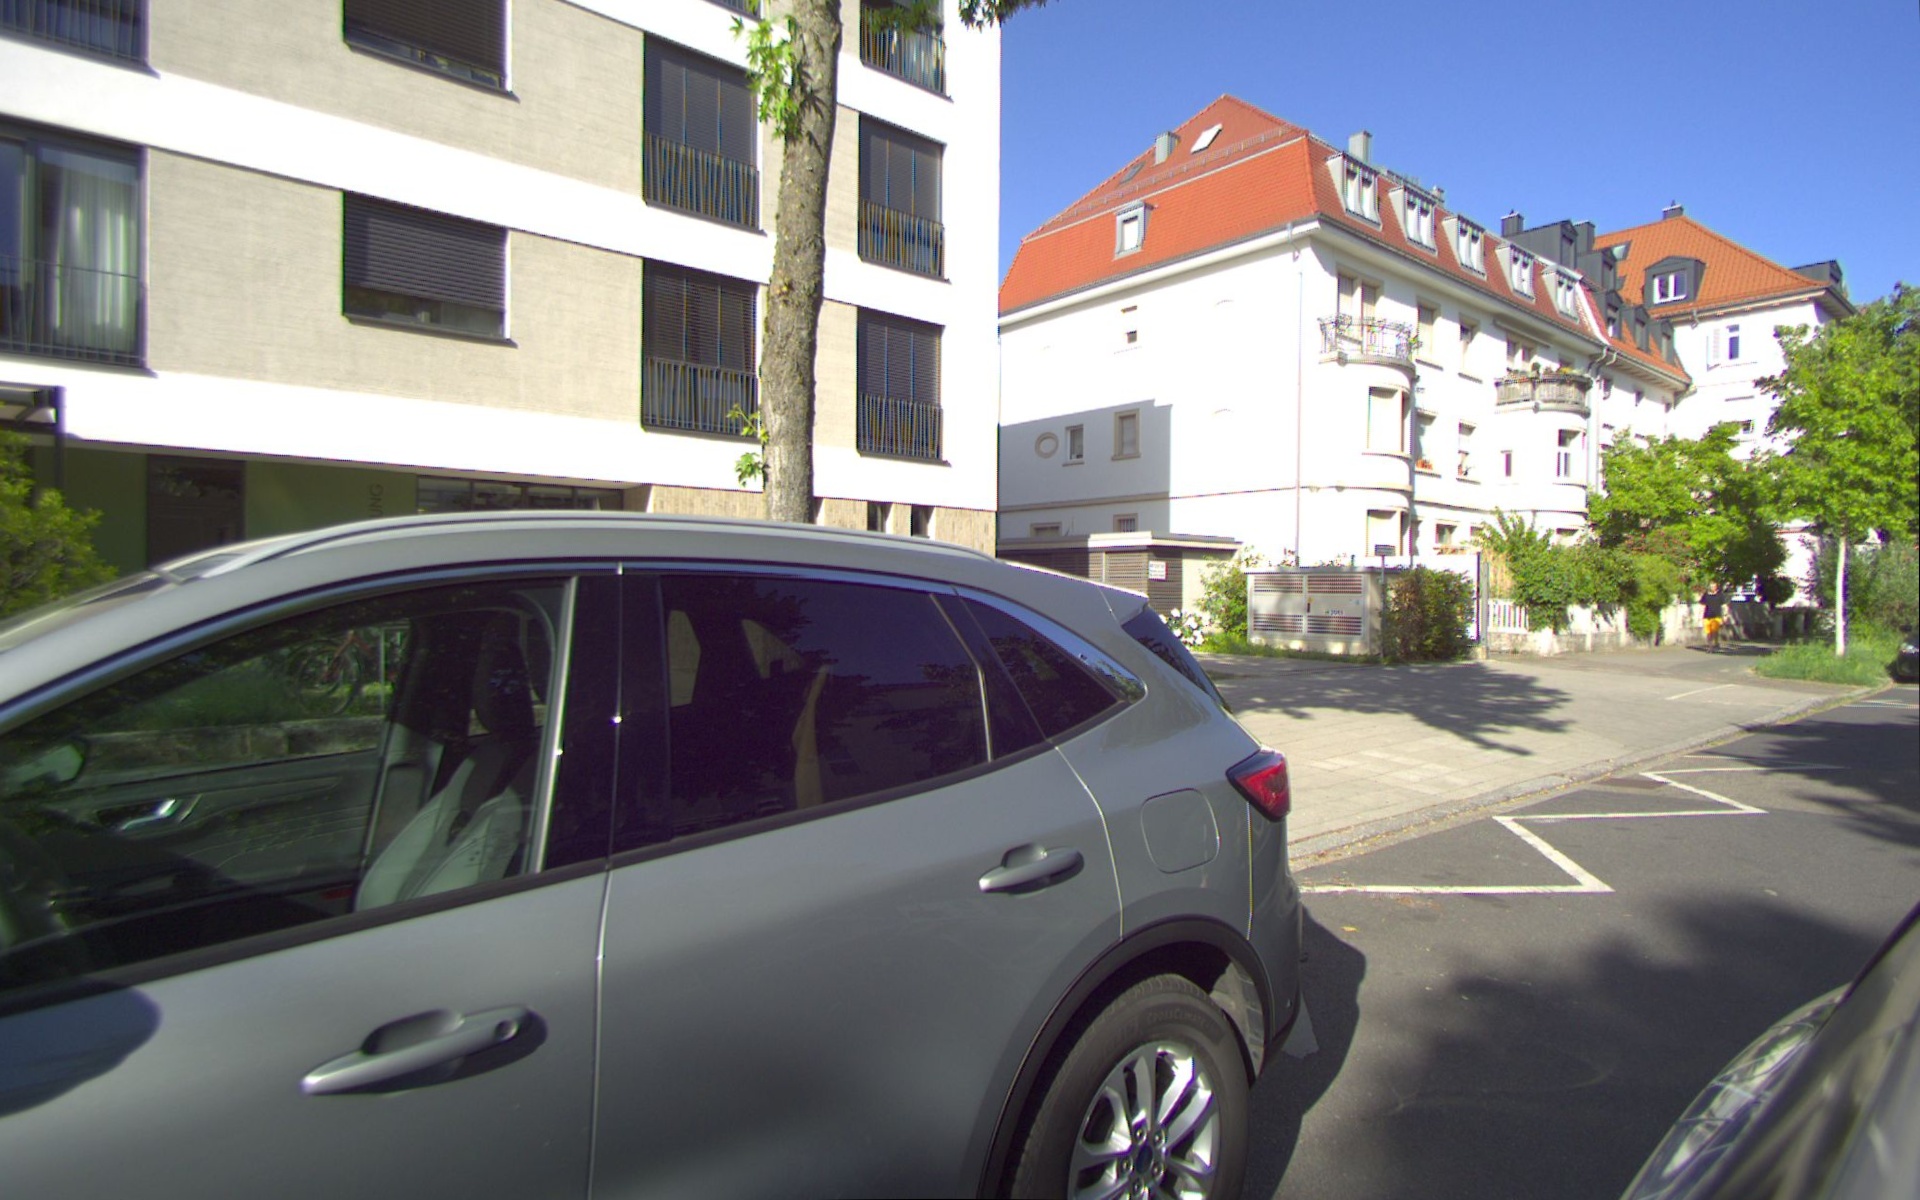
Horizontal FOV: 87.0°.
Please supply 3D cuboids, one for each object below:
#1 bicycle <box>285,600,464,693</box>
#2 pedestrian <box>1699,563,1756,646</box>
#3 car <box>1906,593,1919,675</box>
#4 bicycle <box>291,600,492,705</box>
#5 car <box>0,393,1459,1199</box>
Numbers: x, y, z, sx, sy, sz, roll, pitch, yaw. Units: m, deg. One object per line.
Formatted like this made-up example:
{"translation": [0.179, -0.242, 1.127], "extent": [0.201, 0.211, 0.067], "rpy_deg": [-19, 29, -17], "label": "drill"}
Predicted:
{"translation": [-6.171, 0.456, 10.711], "extent": [1.580, 0.905, 0.564], "rpy_deg": [0, 0, -39], "label": "bicycle"}
{"translation": [19.376, 0.099, 25.544], "extent": [0.988, 2.039, 0.907], "rpy_deg": [0, 1, -39], "label": "pedestrian"}
{"translation": [19.246, 0.635, 18.972], "extent": [3.471, 1.483, 1.671], "rpy_deg": [0, 2, -38], "label": "car"}
{"translation": [-5.348, 0.462, 9.568], "extent": [1.580, 0.905, 0.564], "rpy_deg": [0, 0, -39], "label": "bicycle"}
{"translation": [-1.153, 0.632, 1.968], "extent": [4.772, 1.668, 1.902], "rpy_deg": [0, 0, -37], "label": "car"}
